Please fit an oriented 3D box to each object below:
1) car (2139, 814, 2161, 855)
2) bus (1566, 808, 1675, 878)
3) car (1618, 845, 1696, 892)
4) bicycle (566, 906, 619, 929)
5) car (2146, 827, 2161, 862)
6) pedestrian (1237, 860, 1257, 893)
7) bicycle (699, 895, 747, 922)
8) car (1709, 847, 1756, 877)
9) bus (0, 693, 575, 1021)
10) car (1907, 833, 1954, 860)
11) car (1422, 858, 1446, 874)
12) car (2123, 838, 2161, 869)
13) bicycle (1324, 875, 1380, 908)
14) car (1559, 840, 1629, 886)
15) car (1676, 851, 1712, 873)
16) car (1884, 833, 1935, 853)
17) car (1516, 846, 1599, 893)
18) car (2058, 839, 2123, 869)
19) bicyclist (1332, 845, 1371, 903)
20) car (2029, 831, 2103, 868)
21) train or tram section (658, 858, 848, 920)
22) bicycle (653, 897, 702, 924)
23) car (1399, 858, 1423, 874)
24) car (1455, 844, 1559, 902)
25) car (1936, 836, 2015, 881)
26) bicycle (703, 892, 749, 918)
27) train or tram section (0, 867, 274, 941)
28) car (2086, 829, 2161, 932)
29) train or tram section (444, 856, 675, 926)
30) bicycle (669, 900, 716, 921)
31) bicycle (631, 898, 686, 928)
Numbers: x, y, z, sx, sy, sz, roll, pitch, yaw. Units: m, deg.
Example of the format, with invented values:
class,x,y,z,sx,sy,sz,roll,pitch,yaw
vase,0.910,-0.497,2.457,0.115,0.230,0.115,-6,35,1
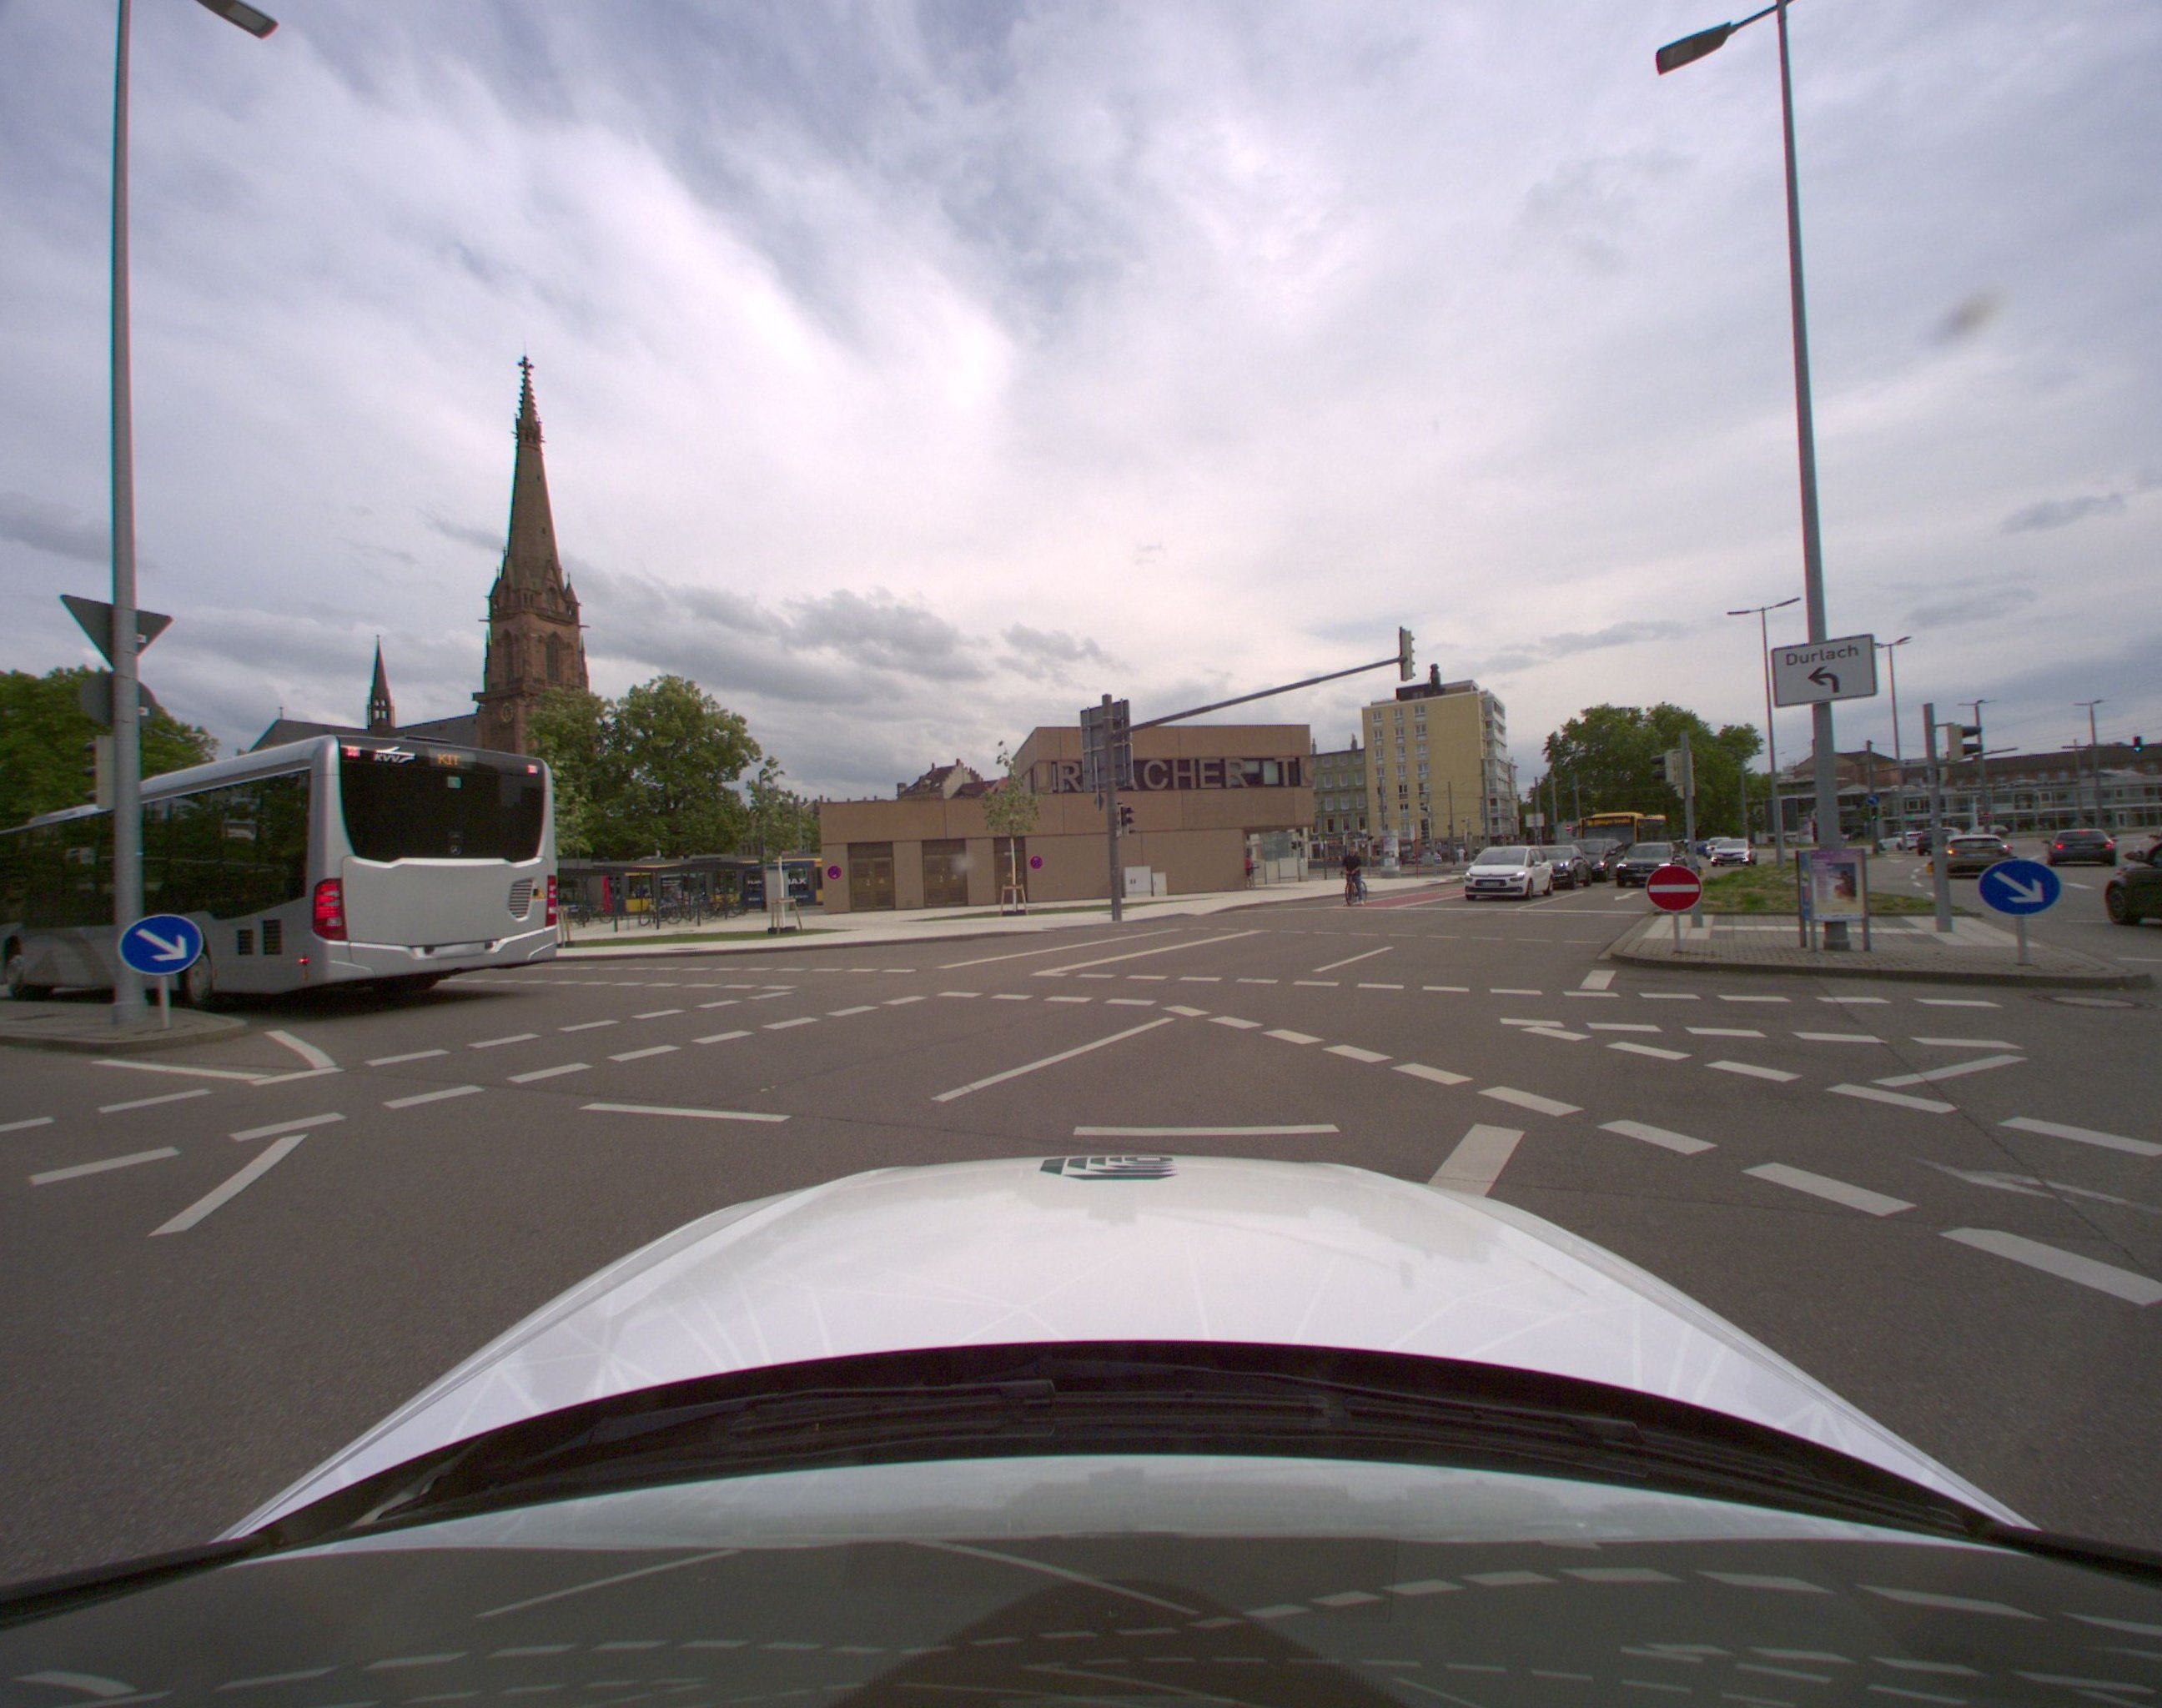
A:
class,x,y,z,sx,sy,sz,roll,pitch,yaw
car,39.038,-0.678,28.440,3.721,1.420,2.113,0,-1,-44
bus,29.302,-0.480,43.843,3.118,3.255,12.489,-1,-1,42
car,21.871,0.535,30.840,1.974,1.651,4.540,-1,-1,40
bicycle,-22.389,2.893,37.358,1.963,0.955,0.581,0,-1,-15
car,45.364,-0.409,33.344,3.721,1.420,1.688,0,-1,-44
pedestrian,8.909,1.230,43.755,0.808,1.733,0.779,-3,-2,-5
bicycle,-16.435,2.501,37.449,1.967,1.156,0.580,0,-1,-21
car,37.751,0.465,47.122,1.974,1.651,4.540,-1,-1,40
bus,-13.719,0.488,12.851,14.005,3.438,2.729,-4,-2,26
car,52.128,-0.445,49.943,3.565,1.615,1.818,0,-1,-41
car,44.768,1.473,103.363,1.974,2.014,4.025,-1,-1,35
car,50.601,-0.029,38.206,3.721,1.420,1.688,0,-1,-44
bicycle,8.055,1.081,24.140,0.854,0.876,2.535,-1,-1,36
car,22.533,0.389,35.671,1.974,1.899,4.317,-1,-1,40
car,48.197,0.594,64.002,1.974,1.651,4.540,-1,-1,40
car,62.616,-0.802,61.612,1.694,1.420,4.025,-1,-1,31
car,18.087,0.569,30.831,1.974,1.651,4.317,-1,-1,40
car,50.555,-0.004,40.850,4.023,1.420,1.695,0,-1,-44
bicyclist,8.006,0.585,24.081,0.858,1.669,0.886,-1,-1,36
car,40.297,-0.174,33.390,4.022,1.420,1.695,0,-1,-42
train or tram section,-18.184,1.869,45.839,9.477,3.246,3.050,0,-1,-12
bicycle,-18.367,2.563,37.120,1.967,1.156,0.580,0,-1,-21
car,42.443,1.509,104.674,1.974,2.014,4.025,-1,-1,35
car,13.401,0.554,25.488,1.974,1.651,4.317,-1,-1,40
car,30.140,0.150,27.486,3.720,1.405,1.680,0,-1,-43
bicycle,-16.907,2.424,38.819,1.967,1.156,0.580,0,-1,-21
train or tram section,-46.103,2.343,39.718,9.345,3.277,3.050,0,-1,-12
car,16.438,0.362,11.588,1.650,1.489,3.463,-2,-1,33
train or tram section,-27.624,1.893,43.695,9.904,3.450,3.050,0,-1,-12
bicycle,-18.784,2.726,39.442,1.963,0.970,0.581,0,-1,-15
bicycle,-17.826,2.492,34.397,1.967,1.156,0.580,0,-1,-21
